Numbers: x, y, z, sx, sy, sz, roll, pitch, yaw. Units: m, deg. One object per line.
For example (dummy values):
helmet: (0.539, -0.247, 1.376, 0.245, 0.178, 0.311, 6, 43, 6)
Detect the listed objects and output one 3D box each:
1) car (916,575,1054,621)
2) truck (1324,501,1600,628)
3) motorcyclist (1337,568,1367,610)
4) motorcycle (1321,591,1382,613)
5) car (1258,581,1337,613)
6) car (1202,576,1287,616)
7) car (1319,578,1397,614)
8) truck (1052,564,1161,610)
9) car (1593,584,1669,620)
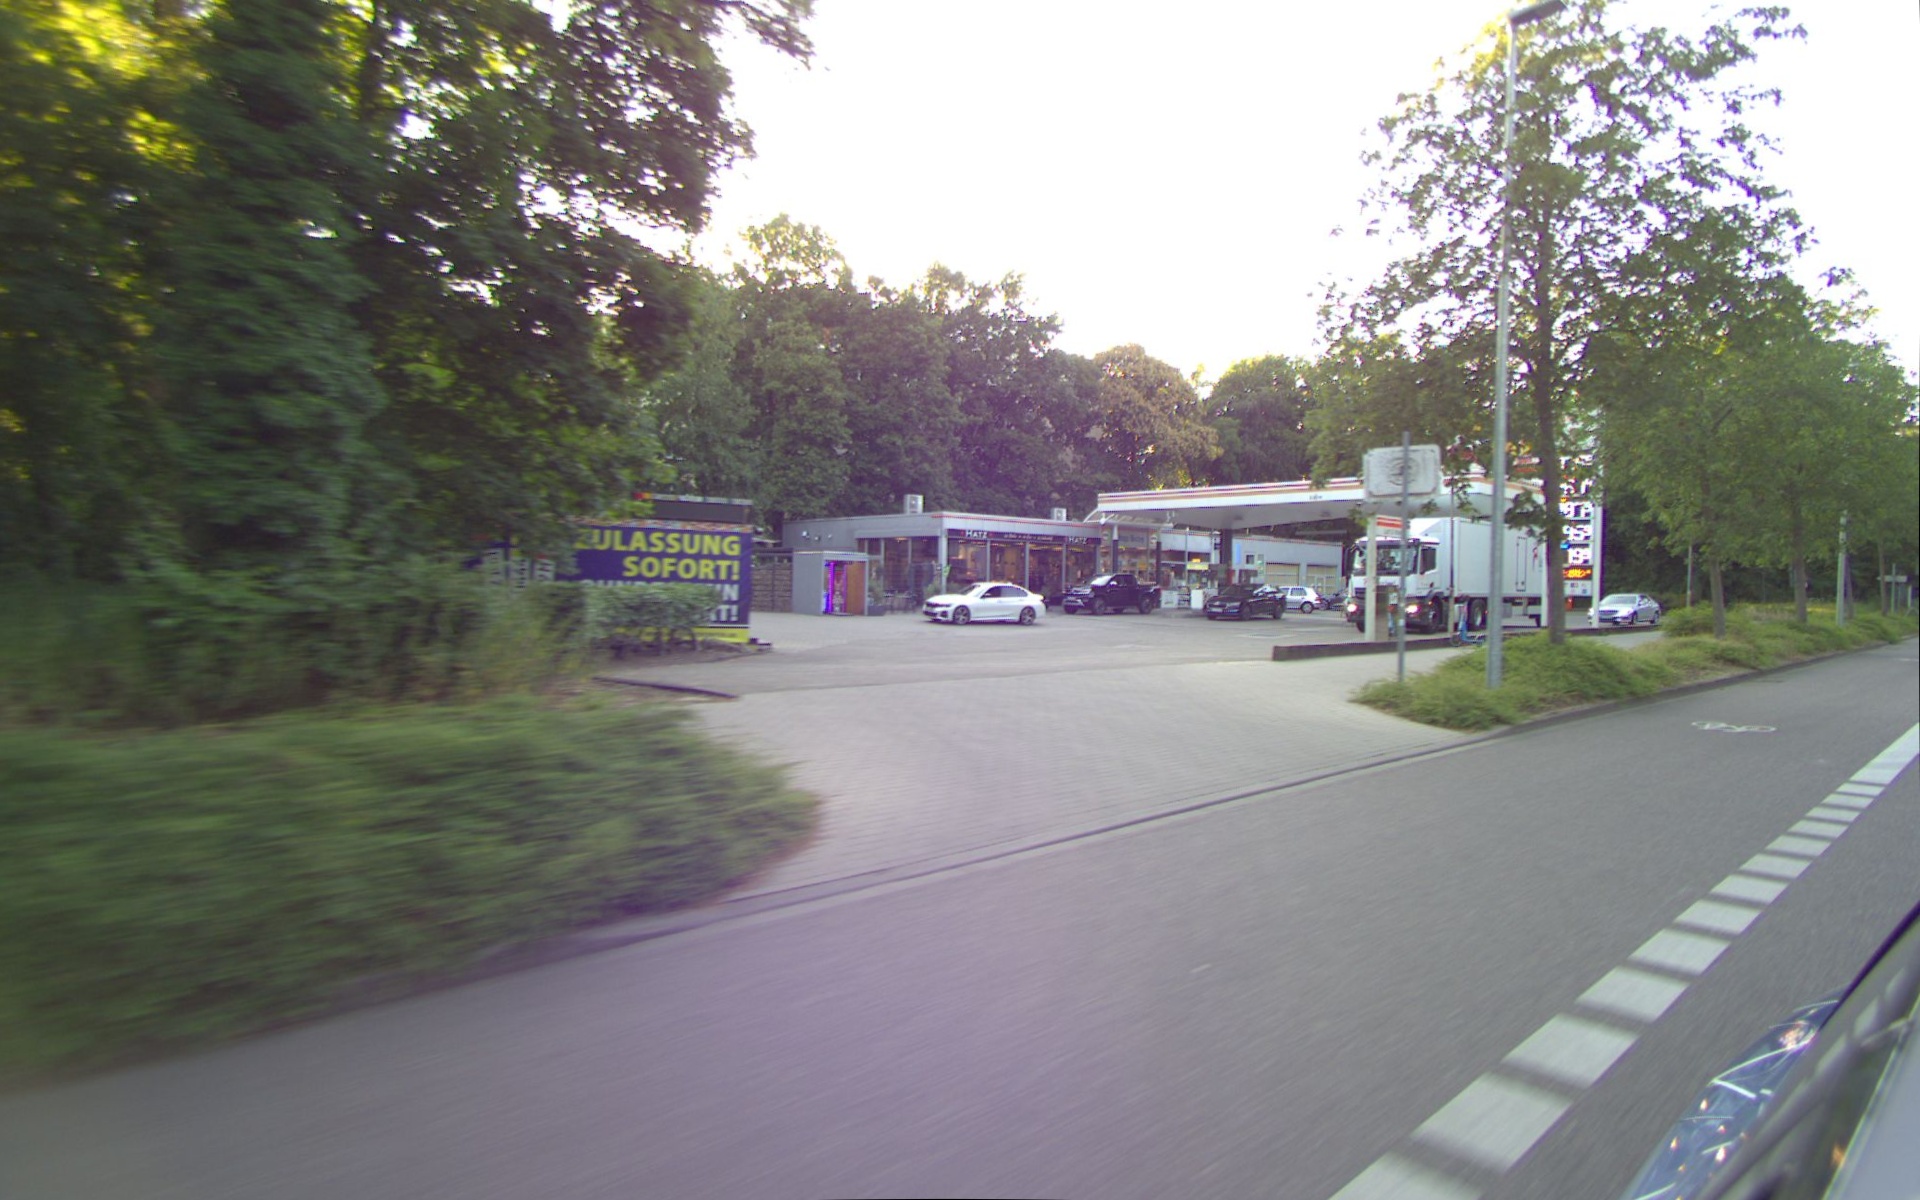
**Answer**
car: (0.915, -0.106, 35.823, 4.639, 1.431, 1.735, -1, 4, -31)
truck: (18.647, -1.152, 36.517, 15.609, 3.776, 3.223, -1, 1, -41)
motorcyclist: (19.317, -0.526, 49.900, 1.057, 2.039, 1.009, 0, 0, -41)
motorcycle: (19.324, 0.072, 49.871, 3.931, 1.037, 1.136, -1, 0, -42)
car: (18.438, -0.173, 55.286, 3.952, 1.543, 1.986, 3, 1, 21)
car: (11.681, -0.156, 41.413, 3.935, 1.528, 1.669, 0, 0, -45)
car: (23.618, -0.254, 60.143, 3.978, 2.039, 1.808, 0, 0, 38)
truck: (6.577, -0.593, 45.052, 5.113, 1.965, 1.997, -1, 1, -41)
car: (31.153, 0.061, 46.943, 4.632, 1.611, 1.995, -1, 1, -44)
